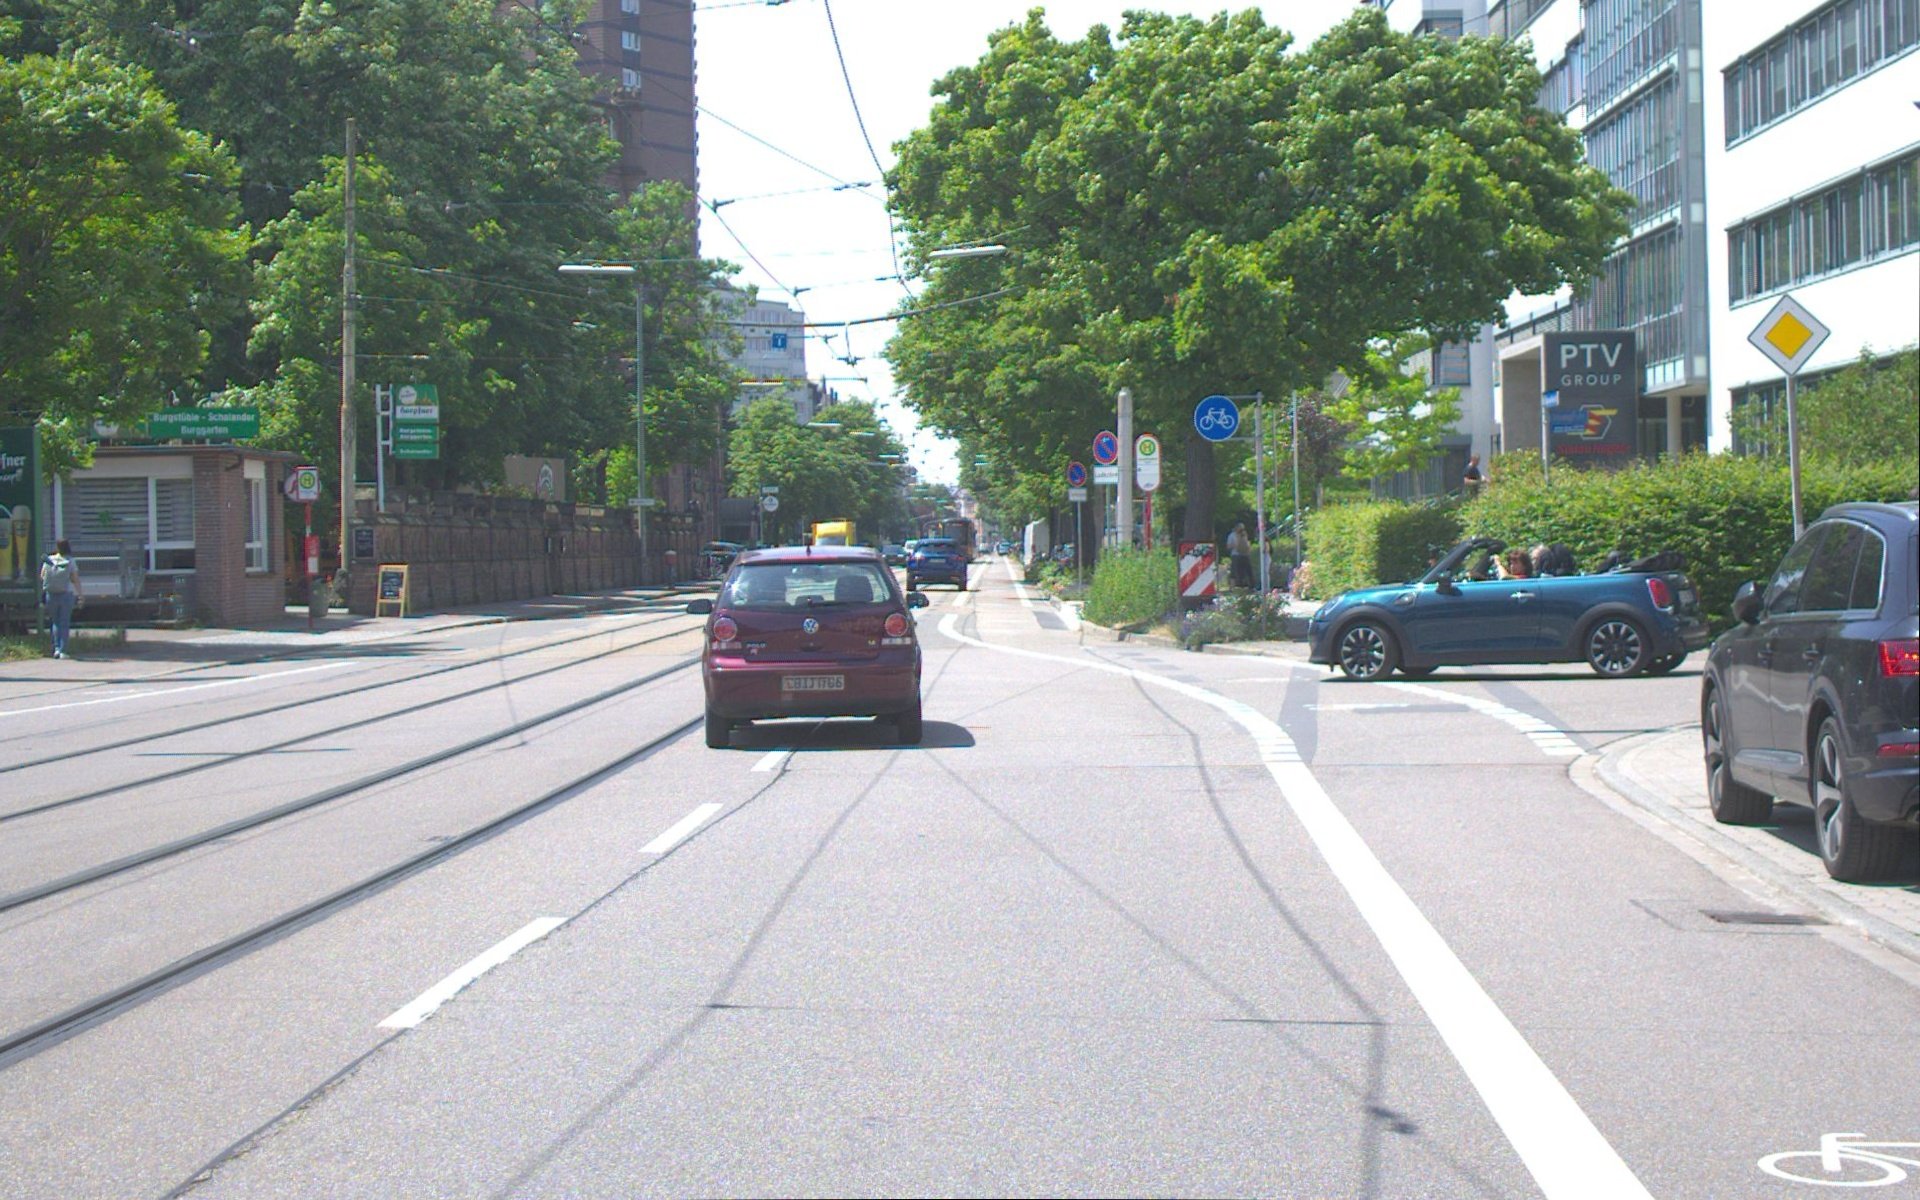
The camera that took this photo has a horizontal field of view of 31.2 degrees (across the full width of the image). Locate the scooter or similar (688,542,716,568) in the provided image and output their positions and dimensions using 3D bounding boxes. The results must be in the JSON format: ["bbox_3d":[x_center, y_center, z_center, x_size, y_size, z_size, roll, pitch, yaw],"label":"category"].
[{"bbox_3d":[-11.339,-1.975,151.166,1.088,1.151,0.527,0,1,-20],"label":"scooter or similar"}]

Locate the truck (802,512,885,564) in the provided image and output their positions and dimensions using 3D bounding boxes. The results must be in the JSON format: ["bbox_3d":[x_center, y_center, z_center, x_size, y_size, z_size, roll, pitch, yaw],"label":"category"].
[{"bbox_3d":[-6.395,-3.430,189.522,2.371,2.777,7.314,-1,1,16],"label":"truck"}]

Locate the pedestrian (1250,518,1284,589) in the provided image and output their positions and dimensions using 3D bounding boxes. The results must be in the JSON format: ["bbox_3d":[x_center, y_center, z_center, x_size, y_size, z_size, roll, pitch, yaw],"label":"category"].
[{"bbox_3d":[7.564,-1.139,84.791,0.537,1.709,0.566,-3,0,-28],"label":"pedestrian"}]

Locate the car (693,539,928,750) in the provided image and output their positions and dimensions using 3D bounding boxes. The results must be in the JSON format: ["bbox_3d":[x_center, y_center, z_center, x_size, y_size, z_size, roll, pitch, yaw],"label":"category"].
[{"bbox_3d":[-1.093,0.284,26.645,1.619,1.481,4.000,-1,1,0],"label":"car"}]

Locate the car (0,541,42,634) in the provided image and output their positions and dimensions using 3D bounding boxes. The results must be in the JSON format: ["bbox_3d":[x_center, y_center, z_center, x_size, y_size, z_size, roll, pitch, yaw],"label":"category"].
[{"bbox_3d":[-17.140,-0.200,54.980,1.934,1.483,4.441,2,2,41],"label":"car"}]

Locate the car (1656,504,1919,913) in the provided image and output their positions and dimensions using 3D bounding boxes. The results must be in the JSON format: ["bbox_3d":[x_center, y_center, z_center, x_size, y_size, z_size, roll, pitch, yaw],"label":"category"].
[{"bbox_3d":[4.854,0.376,16.927,1.924,1.687,5.082,-3,1,2],"label":"car"}]

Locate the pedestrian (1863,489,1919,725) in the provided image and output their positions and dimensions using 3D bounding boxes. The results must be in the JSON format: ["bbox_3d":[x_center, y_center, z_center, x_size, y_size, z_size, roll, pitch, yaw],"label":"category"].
[{"bbox_3d":[7.041,0.036,24.622,0.837,1.661,0.735,-1,1,-19],"label":"pedestrian"}]

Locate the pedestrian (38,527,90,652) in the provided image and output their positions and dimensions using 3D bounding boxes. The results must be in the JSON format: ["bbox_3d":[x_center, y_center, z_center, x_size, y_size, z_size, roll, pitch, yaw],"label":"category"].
[{"bbox_3d":[-12.799,-0.154,49.139,0.580,1.769,0.700,0,1,-3],"label":"pedestrian"}]

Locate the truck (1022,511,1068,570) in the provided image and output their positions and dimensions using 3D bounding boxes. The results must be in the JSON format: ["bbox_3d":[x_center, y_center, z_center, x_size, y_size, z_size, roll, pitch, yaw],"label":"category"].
[{"bbox_3d":[3.865,-2.751,157.457,1.993,2.652,4.875,0,1,0],"label":"truck"}]

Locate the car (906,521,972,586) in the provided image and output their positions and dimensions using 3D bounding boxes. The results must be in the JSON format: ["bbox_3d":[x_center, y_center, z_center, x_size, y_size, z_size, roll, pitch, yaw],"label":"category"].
[{"bbox_3d":[-0.688,-1.506,109.278,1.993,2.007,4.000,0,1,-1],"label":"car"}]

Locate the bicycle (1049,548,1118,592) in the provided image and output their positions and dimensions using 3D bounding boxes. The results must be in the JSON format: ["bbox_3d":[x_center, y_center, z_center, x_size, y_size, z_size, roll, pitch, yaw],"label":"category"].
[{"bbox_3d":[3.417,-0.825,95.262,1.883,1.178,0.694,-2,0,1],"label":"bicycle"}]

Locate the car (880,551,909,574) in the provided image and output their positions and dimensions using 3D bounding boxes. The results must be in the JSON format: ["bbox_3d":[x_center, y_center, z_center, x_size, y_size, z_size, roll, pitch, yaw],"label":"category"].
[{"bbox_3d":[-4.392,-2.535,230.786,1.770,1.510,4.000,-1,1,1],"label":"car"}]

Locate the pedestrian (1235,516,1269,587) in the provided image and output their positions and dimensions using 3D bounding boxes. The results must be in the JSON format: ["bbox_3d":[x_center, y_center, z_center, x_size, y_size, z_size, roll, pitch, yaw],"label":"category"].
[{"bbox_3d":[7.151,-1.191,84.320,0.537,1.709,0.566,-3,0,-28],"label":"pedestrian"}]

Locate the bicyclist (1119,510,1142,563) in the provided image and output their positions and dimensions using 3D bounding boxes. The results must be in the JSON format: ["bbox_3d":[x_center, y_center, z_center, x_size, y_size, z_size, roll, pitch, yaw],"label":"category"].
[{"bbox_3d":[5.840,-2.170,117.847,0.696,1.793,0.887,-2,0,4],"label":"bicyclist"}]

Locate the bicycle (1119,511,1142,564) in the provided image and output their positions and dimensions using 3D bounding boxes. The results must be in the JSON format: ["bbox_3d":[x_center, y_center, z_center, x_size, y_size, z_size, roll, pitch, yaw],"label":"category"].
[{"bbox_3d":[5.852,-2.145,117.887,0.690,1.779,1.810,-2,0,4],"label":"bicycle"}]

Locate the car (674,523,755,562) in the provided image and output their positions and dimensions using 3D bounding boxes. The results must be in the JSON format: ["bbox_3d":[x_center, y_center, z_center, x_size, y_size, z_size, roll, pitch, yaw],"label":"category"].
[{"bbox_3d":[-12.908,-3.026,180.889,3.987,2.007,2.000,-1,1,5],"label":"car"}]

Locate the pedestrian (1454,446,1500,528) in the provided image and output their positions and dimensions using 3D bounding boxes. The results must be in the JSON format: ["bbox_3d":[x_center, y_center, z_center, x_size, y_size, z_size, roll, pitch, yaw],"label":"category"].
[{"bbox_3d":[11.082,-2.411,73.651,0.874,1.709,1.089,-2,0,11],"label":"pedestrian"}]

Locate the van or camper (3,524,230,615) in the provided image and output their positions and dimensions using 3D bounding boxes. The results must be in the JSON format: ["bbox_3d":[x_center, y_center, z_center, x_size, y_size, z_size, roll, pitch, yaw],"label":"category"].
[{"bbox_3d":[-15.740,-0.578,64.274,3.784,1.623,1.871,0,2,1],"label":"van or camper"}]

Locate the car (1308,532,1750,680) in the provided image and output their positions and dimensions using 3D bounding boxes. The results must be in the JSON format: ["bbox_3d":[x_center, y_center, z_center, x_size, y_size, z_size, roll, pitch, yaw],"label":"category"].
[{"bbox_3d":[5.555,0.060,33.583,3.919,1.367,1.701,-1,1,25],"label":"car"}]

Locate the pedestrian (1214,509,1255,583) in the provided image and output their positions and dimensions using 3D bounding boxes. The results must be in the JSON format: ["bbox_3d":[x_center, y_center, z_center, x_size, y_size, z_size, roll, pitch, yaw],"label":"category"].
[{"bbox_3d":[6.780,-1.343,84.982,0.677,1.790,0.675,-3,1,-30],"label":"pedestrian"}]

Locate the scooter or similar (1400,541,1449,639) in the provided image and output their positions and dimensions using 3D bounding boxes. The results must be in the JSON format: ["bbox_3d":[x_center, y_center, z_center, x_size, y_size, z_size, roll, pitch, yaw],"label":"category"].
[{"bbox_3d":[5.890,-0.136,43.582,0.326,1.218,1.150,1,1,22],"label":"scooter or similar"}]
